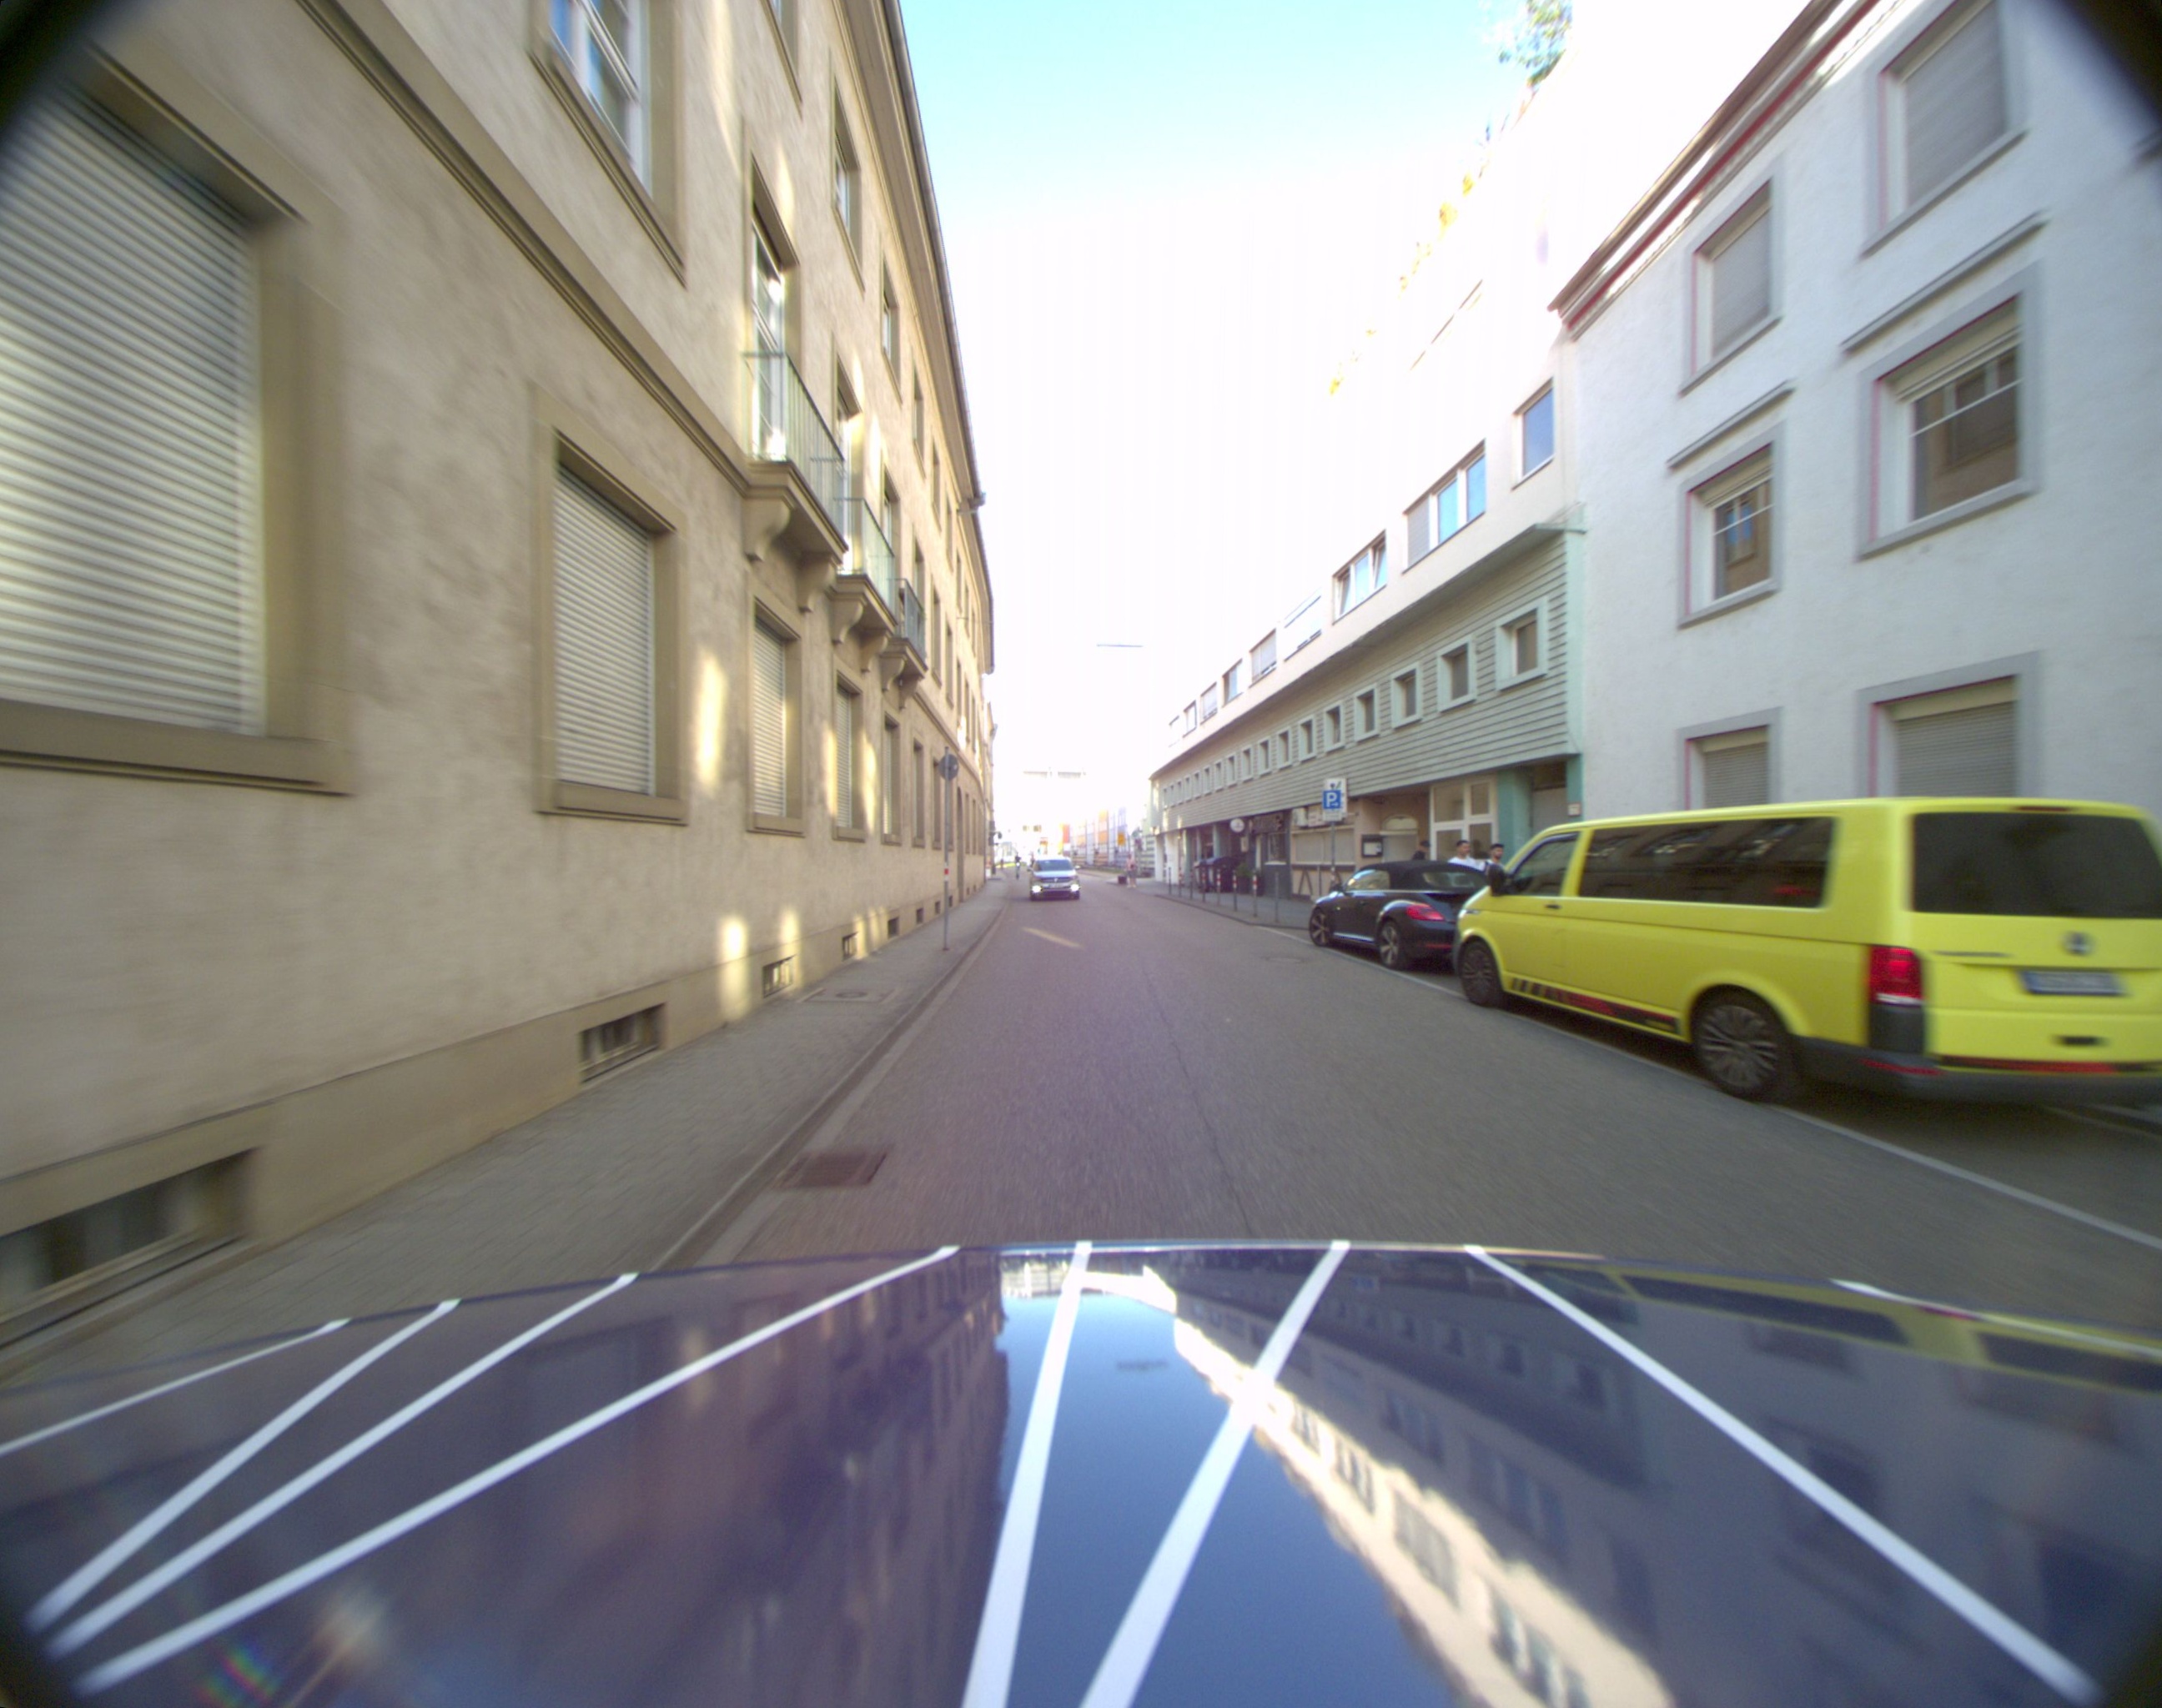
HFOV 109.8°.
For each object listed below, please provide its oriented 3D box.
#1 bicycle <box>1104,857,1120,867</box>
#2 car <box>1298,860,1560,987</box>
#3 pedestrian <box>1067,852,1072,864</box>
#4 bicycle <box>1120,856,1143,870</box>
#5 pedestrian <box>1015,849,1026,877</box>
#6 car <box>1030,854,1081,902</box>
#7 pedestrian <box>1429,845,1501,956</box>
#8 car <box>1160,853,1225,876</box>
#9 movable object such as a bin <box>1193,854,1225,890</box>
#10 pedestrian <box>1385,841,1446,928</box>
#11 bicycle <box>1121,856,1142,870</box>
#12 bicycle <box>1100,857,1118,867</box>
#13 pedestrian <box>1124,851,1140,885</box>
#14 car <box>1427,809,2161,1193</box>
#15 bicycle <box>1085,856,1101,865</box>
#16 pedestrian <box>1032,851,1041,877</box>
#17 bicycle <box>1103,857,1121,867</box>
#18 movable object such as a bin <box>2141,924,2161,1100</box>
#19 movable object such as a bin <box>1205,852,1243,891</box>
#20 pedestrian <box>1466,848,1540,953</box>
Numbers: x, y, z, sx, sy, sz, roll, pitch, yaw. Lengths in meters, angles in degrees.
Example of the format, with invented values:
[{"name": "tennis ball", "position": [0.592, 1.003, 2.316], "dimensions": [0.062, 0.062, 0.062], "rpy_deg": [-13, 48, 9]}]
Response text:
[{"name": "bicycle", "position": [3.329, 0.824, 81.849], "dimensions": [1.658, 0.940, 0.388], "rpy_deg": [-5, 1, -6]}, {"name": "car", "position": [4.861, 0.871, 11.356], "dimensions": [1.824, 1.477, 4.075], "rpy_deg": [2, 0, -3]}, {"name": "pedestrian", "position": [-1.707, 0.591, 112.160], "dimensions": [0.612, 1.641, 0.447], "rpy_deg": [-1, 1, -11]}, {"name": "bicycle", "position": [4.379, 0.752, 66.025], "dimensions": [1.821, 1.094, 0.749], "rpy_deg": [-5, 1, -6]}, {"name": "pedestrian", "position": [-4.186, 0.613, 52.542], "dimensions": [0.678, 1.928, 0.858], "rpy_deg": [-1, 1, -6]}, {"name": "car", "position": [-0.936, 0.845, 28.653], "dimensions": [1.683, 1.568, 4.242], "rpy_deg": [-4, 0, -1]}, {"name": "pedestrian", "position": [6.167, 0.732, 12.252], "dimensions": [0.700, 1.724, 0.829], "rpy_deg": [0, 1, -3]}, {"name": "car", "position": [7.450, 0.692, 50.909], "dimensions": [3.944, 1.511, 1.692], "rpy_deg": [-1, 0, -7]}, {"name": "movable object such as a bin", "position": [5.329, 0.759, 31.816], "dimensions": [0.971, 1.462, 1.474], "rpy_deg": [-1, -1, -5]}, {"name": "pedestrian", "position": [6.786, 0.605, 15.469], "dimensions": [1.079, 1.718, 0.803], "rpy_deg": [0, 1, 20]}, {"name": "bicycle", "position": [4.518, 0.834, 67.481], "dimensions": [1.739, 1.094, 0.388], "rpy_deg": [-5, 1, -12]}, {"name": "bicycle", "position": [2.952, 0.836, 79.857], "dimensions": [1.803, 0.940, 0.388], "rpy_deg": [-5, 1, -6]}, {"name": "pedestrian", "position": [2.585, 0.719, 38.446], "dimensions": [0.494, 1.660, 0.627], "rpy_deg": [-3, 1, -18]}, {"name": "car", "position": [4.927, 0.732, 6.167], "dimensions": [1.885, 1.856, 4.863], "rpy_deg": [2, 0, -1]}, {"name": "bicycle", "position": [1.529, 0.768, 96.826], "dimensions": [1.808, 0.977, 0.653], "rpy_deg": [-5, 1, -9]}, {"name": "pedestrian", "position": [-3.185, 0.706, 53.963], "dimensions": [0.603, 1.770, 0.651], "rpy_deg": [-1, 1, -6]}, {"name": "bicycle", "position": [3.257, 0.869, 80.582], "dimensions": [1.803, 0.940, 0.388], "rpy_deg": [-5, 1, -6]}, {"name": "movable object such as a bin", "position": [7.009, 0.998, 4.653], "dimensions": [0.411, 1.098, 0.433], "rpy_deg": [0, 1, 1]}, {"name": "movable object such as a bin", "position": [5.667, 0.697, 30.196], "dimensions": [1.125, 1.511, 1.341], "rpy_deg": [-1, -1, -5]}, {"name": "pedestrian", "position": [6.900, 0.735, 12.466], "dimensions": [0.674, 1.660, 0.894], "rpy_deg": [0, 1, -3]}]
